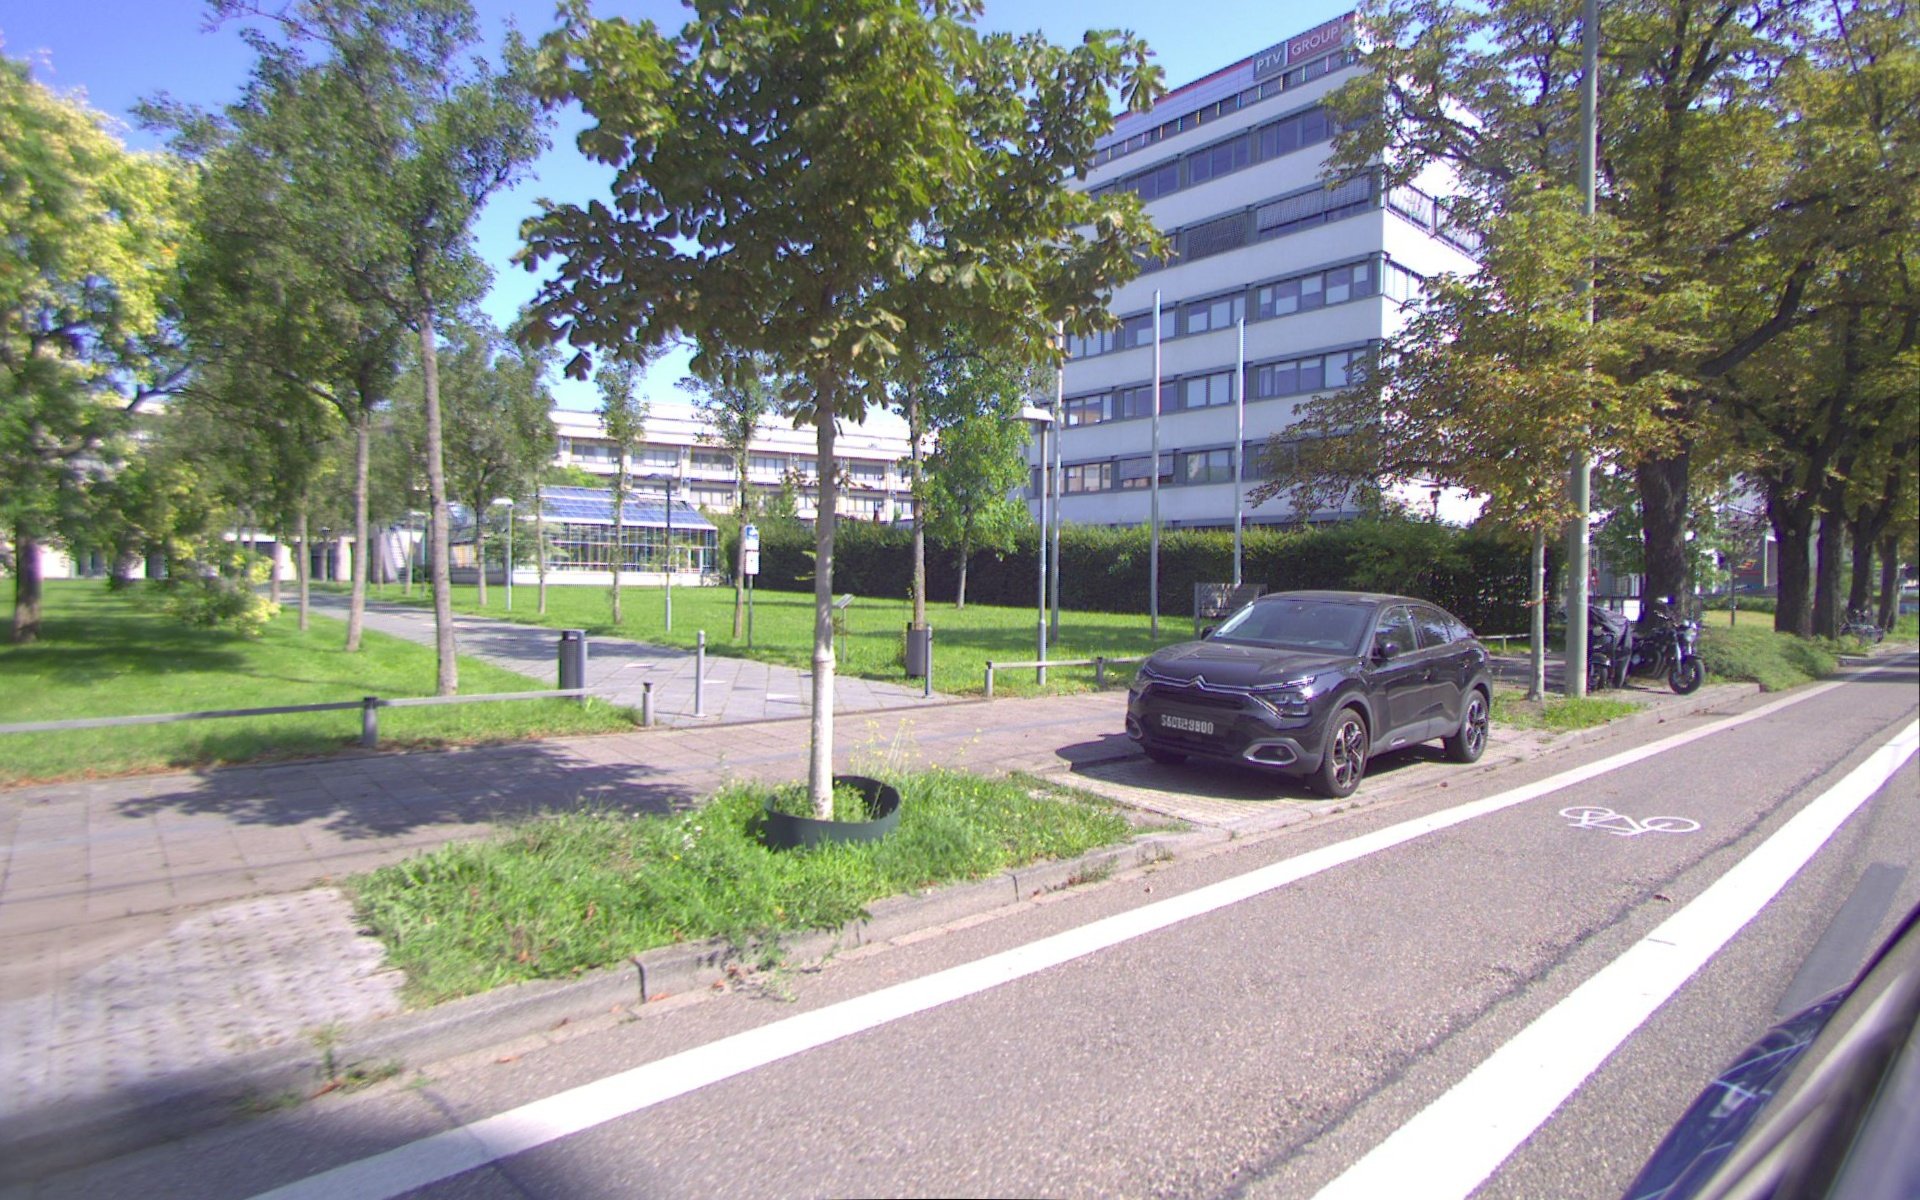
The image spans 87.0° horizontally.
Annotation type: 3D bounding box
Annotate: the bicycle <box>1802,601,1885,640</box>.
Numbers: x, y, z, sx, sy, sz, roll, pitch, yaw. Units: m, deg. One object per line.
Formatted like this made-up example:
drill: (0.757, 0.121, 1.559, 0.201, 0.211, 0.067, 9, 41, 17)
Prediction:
bicycle: (25.963, 0.593, 29.764, 0.531, 1.063, 1.774, 0, 1, -42)

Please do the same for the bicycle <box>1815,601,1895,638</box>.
bicycle: (27.760, 0.579, 31.410, 0.531, 1.063, 1.774, 0, 1, -42)

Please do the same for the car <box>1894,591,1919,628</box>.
car: (41.301, 0.402, 43.164, 4.201, 1.480, 1.758, 0, 1, -42)

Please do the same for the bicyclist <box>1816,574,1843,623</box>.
bicyclist: (36.923, -0.087, 42.981, 1.253, 2.039, 0.781, 0, 0, -44)

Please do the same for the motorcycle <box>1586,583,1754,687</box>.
motorcycle: (11.193, 0.498, 16.089, 0.836, 1.535, 2.457, 0, 0, -3)

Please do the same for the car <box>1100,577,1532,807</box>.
car: (3.387, 0.593, 9.094, 4.532, 1.534, 1.758, -1, 2, -43)

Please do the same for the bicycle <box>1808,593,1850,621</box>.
bicycle: (36.986, 0.272, 43.051, 2.495, 1.139, 1.136, 0, 1, -44)

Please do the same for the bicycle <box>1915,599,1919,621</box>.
bicycle: (49.379, 0.523, 51.006, 0.531, 1.085, 1.774, 0, 1, -42)

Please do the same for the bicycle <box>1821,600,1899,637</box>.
bicycle: (28.284, 0.576, 31.823, 0.531, 1.063, 1.774, 0, 1, -42)

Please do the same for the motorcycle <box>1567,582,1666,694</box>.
motorcycle: (9.778, 0.505, 15.173, 0.843, 1.535, 2.435, 0, 0, 23)

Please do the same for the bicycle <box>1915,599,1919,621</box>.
bicycle: (49.402, 0.523, 51.013, 0.531, 1.085, 1.774, 0, 1, -42)

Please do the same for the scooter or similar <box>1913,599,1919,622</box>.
scooter or similar: (47.831, 0.537, 49.474, 0.531, 1.085, 1.774, 0, 1, -42)
